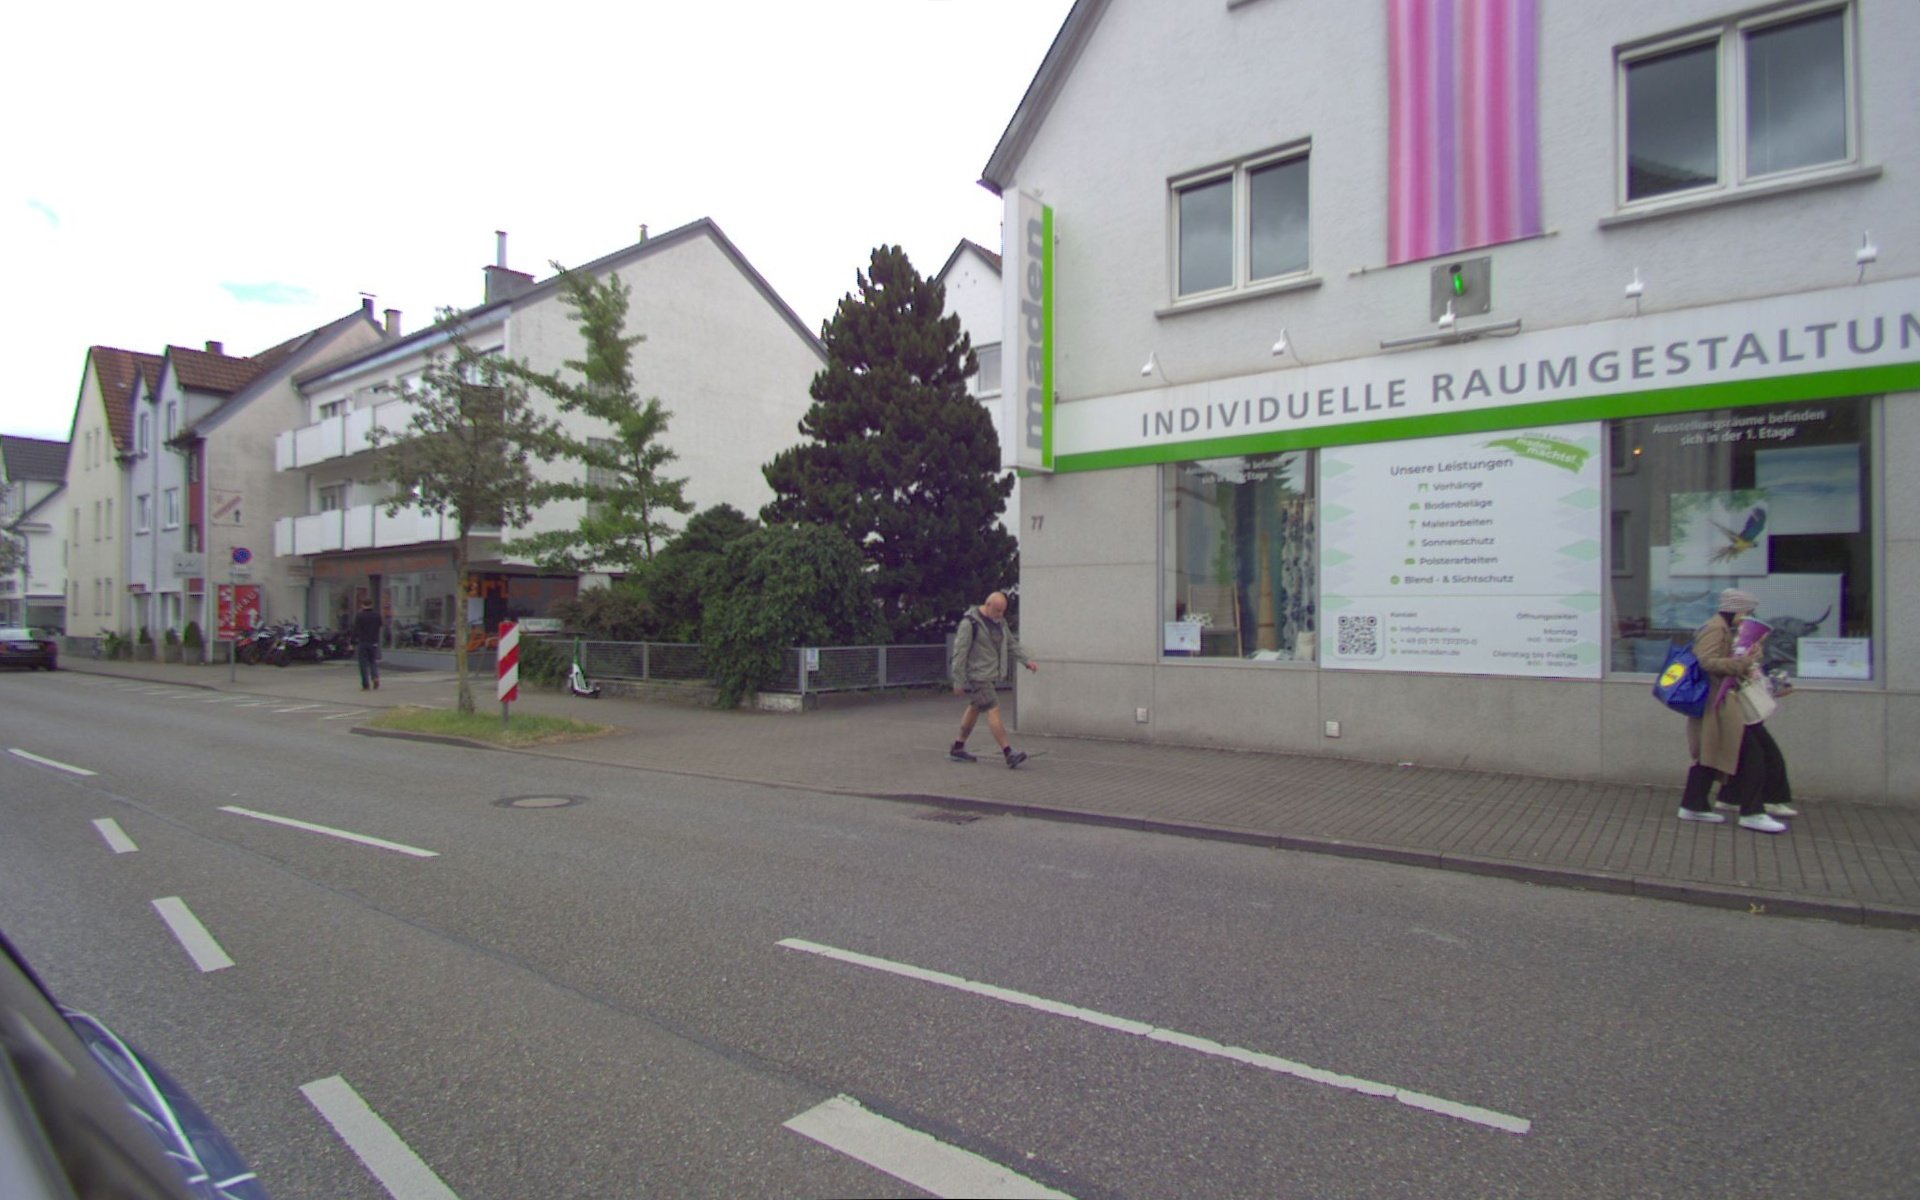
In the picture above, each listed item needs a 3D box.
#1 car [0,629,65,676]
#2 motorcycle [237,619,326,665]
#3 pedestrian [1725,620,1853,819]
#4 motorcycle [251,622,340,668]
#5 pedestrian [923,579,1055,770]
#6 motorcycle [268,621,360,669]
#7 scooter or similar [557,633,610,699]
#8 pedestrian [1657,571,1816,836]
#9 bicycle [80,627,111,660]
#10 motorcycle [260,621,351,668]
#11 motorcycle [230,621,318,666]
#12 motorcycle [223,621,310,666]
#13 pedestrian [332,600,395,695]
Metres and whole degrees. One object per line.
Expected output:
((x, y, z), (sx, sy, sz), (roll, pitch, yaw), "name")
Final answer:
((-31.062, 1.668, 33.217), (4.335, 1.428, 1.770), (-1, -2, 38), "car")
((-21.309, 1.290, 31.827), (0.698, 1.274, 2.204), (-1, 1, 37), "motorcycle")
((5.805, 0.798, 7.107), (0.654, 1.289, 0.593), (-1, 0, 39), "pedestrian")
((-20.486, 1.364, 31.245), (0.612, 1.274, 2.204), (-1, 1, 37), "motorcycle")
((0.285, 0.693, 9.981), (1.018, 1.756, 0.744), (-1, 1, 39), "pedestrian")
((-19.273, 1.315, 30.238), (0.612, 1.274, 2.204), (-1, 1, 37), "motorcycle")
((-6.700, 1.155, 17.996), (1.179, 1.120, 0.336), (-1, 0, 40), "scooter or similar")
((5.229, 0.640, 6.824), (0.792, 1.629, 0.744), (-1, 2, 39), "pedestrian")
((-32.729, 1.629, 38.296), (2.021, 1.205, 0.509), (-1, 0, 38), "bicycle")
((-19.848, 1.325, 30.746), (0.612, 1.274, 2.204), (-1, 1, 37), "motorcycle")
((-21.847, 1.376, 32.276), (0.612, 1.274, 2.204), (-1, 1, 37), "motorcycle")
((-22.386, 1.385, 32.693), (0.612, 1.274, 2.204), (-1, 1, 37), "motorcycle")
((-12.379, 0.967, 21.000), (1.018, 1.863, 0.744), (-1, 2, 39), "pedestrian")
